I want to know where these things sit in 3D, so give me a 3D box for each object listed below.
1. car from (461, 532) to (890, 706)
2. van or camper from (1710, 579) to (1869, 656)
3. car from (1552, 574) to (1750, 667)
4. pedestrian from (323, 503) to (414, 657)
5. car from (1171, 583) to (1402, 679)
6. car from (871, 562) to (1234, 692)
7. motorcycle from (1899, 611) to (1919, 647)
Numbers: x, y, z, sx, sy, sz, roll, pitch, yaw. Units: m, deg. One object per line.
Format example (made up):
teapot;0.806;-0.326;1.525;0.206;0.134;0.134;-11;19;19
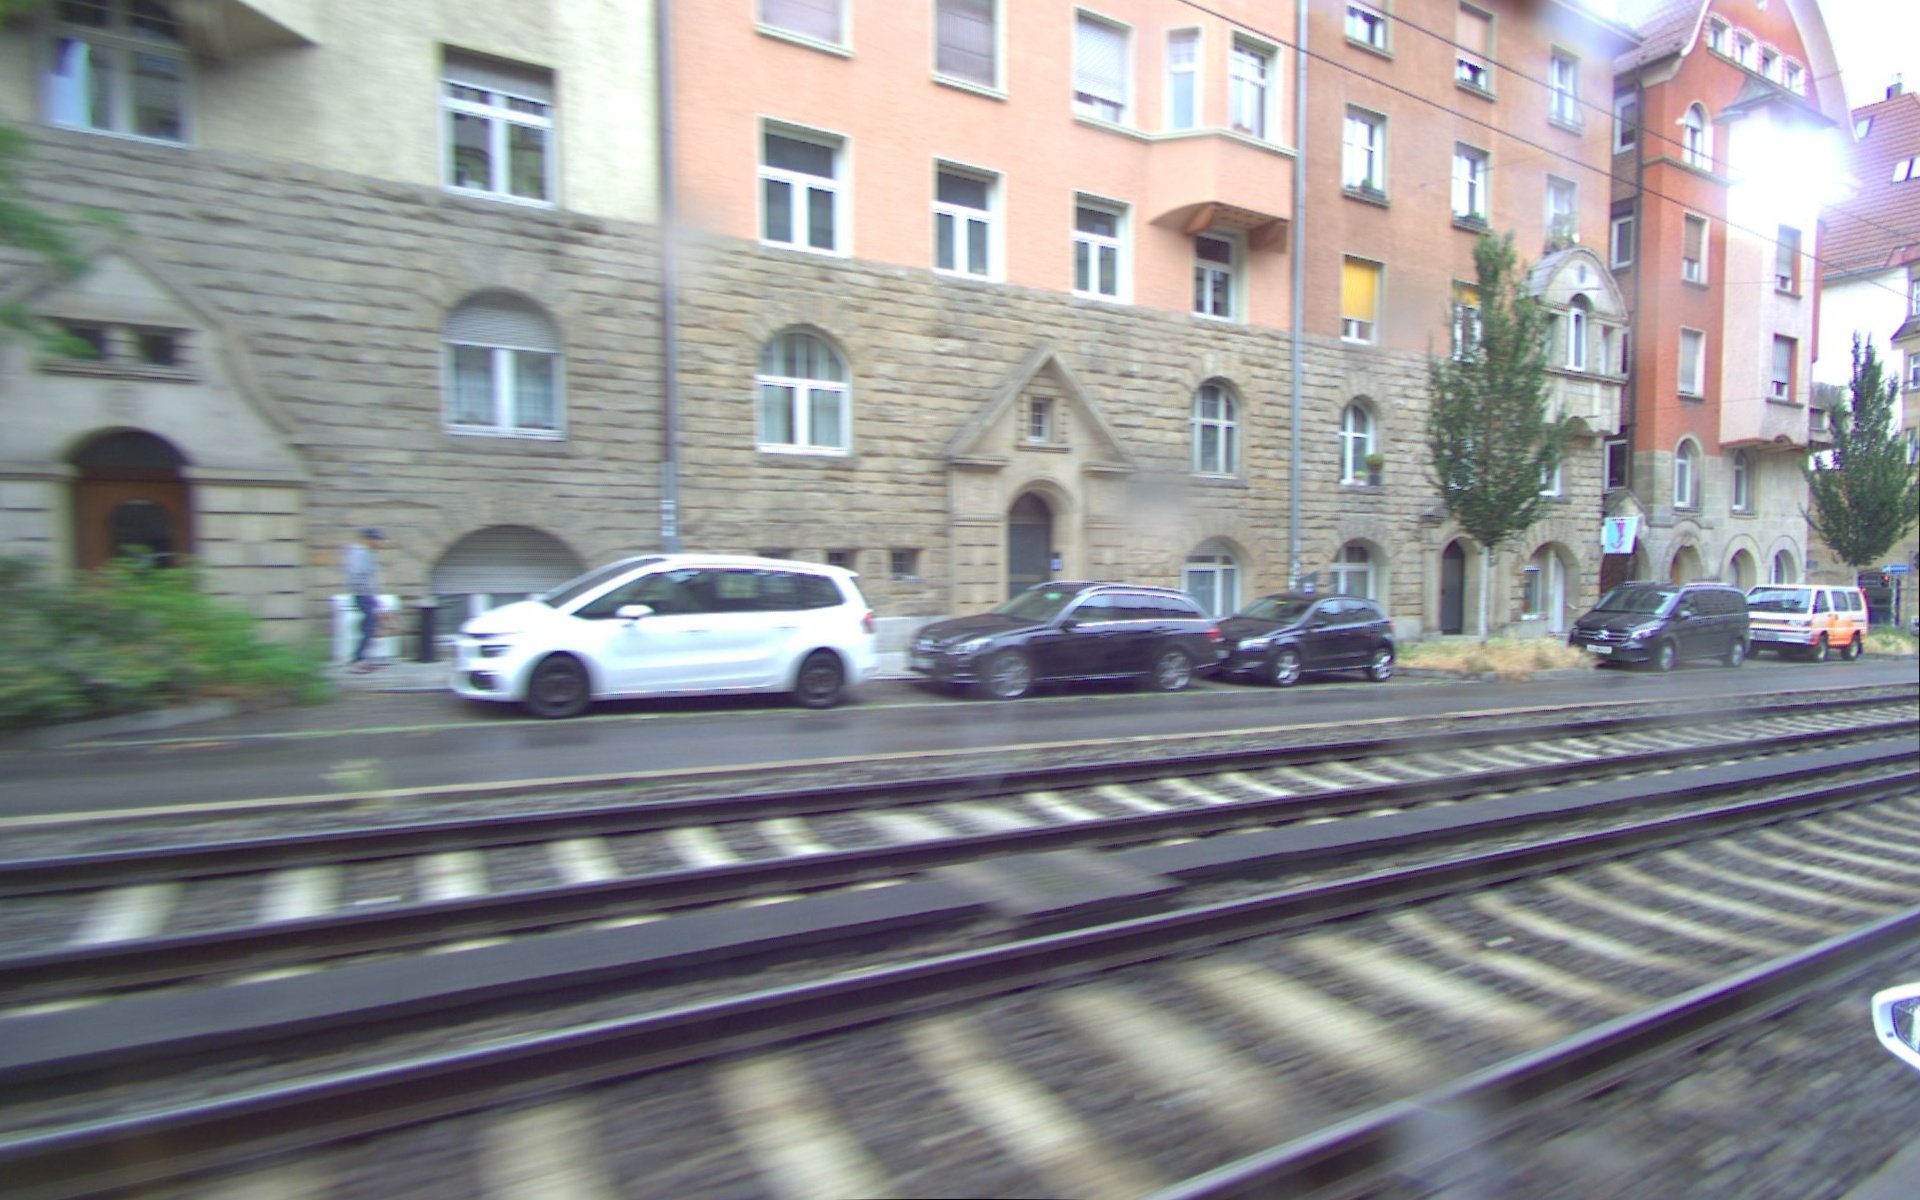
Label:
car;-3.098;0.179;11.265;4.305;1.611;1.774;1;1;-34
van or camper;22.367;0.478;27.053;4.647;1.927;1.983;1;-1;-32
car;15.869;0.459;23.020;4.644;1.927;1.984;1;0;-31
pedestrian;-7.211;-0.247;12.289;0.913;1.777;1.002;1;3;-30
car;5.527;0.472;16.871;3.842;1.417;1.632;0;2;-33
car;1.384;0.321;14.338;4.917;1.530;1.983;1;3;-31
motorcycle;31.285;0.955;32.393;0.608;1.149;1.441;2;1;0
